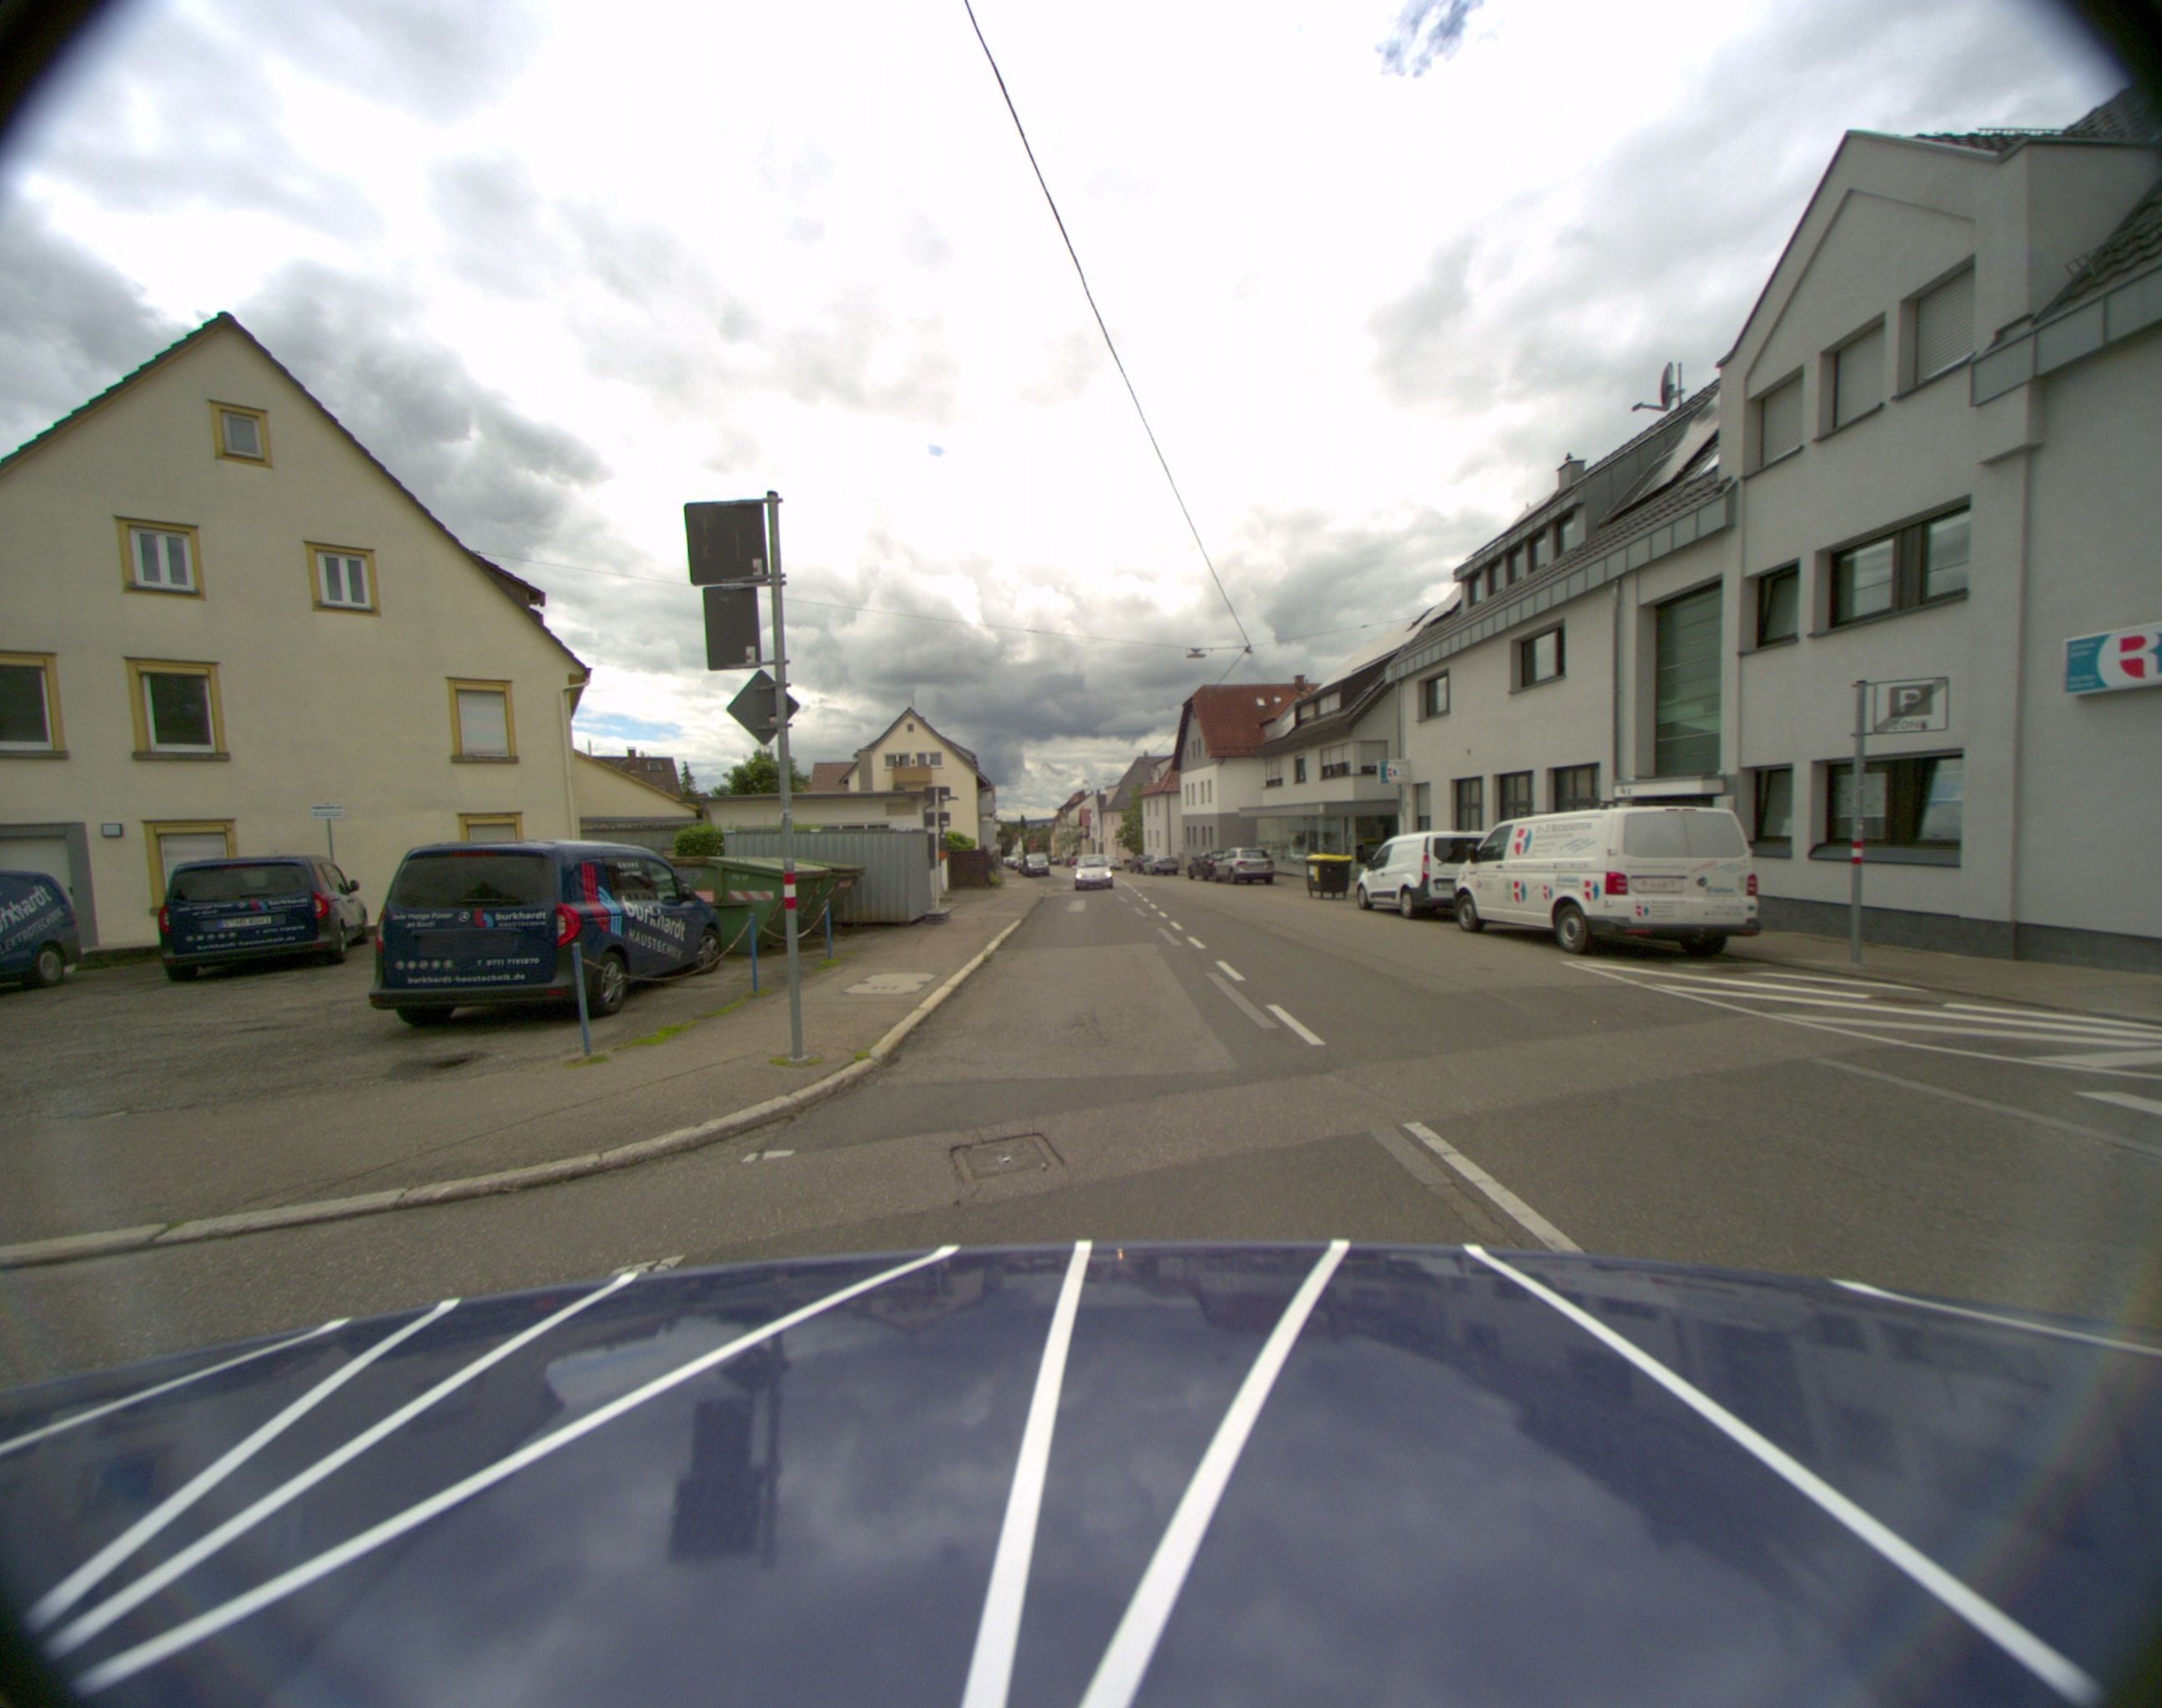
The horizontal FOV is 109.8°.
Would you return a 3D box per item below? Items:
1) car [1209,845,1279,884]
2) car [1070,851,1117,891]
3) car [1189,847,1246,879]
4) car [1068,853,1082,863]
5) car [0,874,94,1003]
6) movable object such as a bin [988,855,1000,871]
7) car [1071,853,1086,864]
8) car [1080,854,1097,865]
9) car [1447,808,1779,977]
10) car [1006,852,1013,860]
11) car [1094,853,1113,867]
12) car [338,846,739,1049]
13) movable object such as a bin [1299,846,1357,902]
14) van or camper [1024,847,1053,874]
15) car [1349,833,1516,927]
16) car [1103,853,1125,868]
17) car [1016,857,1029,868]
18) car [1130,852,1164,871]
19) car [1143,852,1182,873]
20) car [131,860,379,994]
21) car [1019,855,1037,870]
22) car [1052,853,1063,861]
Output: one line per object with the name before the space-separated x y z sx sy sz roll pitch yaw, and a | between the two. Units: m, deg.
car | 7.340 0.453 34.698 1.843 1.623 4.406 -1 0 -6
car | 0.519 0.702 34.505 1.722 1.587 3.998 -4 1 -3
car | 7.116 0.443 40.072 1.843 1.623 4.406 -1 0 -6
car | -0.964 0.610 114.043 1.707 1.524 3.733 1 0 -6
car | -15.768 1.233 9.804 1.905 1.792 4.882 -5 1 -31
movable object such as a bin | -8.705 0.888 76.283 1.083 1.428 1.259 -4 1 -6
car | -0.413 0.669 109.096 1.707 1.524 3.733 1 0 -6
car | 0.929 0.687 97.810 1.707 1.402 3.733 1 0 -6
car | 7.452 0.448 11.404 1.816 1.994 4.763 0 0 3
car | -18.800 0.507 198.883 1.614 1.789 3.857 -4 1 -7
car | 2.380 0.596 82.142 1.654 1.438 3.772 -1 0 -4
car | -5.704 0.797 8.864 1.751 1.729 4.569 0 0 -6
movable object such as a bin | 7.507 0.587 23.207 1.143 1.623 1.562 -1 1 -6
van or camper | -3.639 0.528 64.340 2.000 2.002 5.061 -5 1 -7
car | 7.586 0.493 16.921 1.738 1.821 4.297 0 0 0
car | 3.298 0.602 76.954 1.654 1.438 3.809 -1 0 -6
car | -8.338 1.201 108.674 1.614 1.447 3.857 -4 1 -7
car | 5.213 0.560 60.425 1.843 1.437 3.997 0 0 -9
car | 5.738 0.597 53.983 1.843 1.437 4.465 0 0 -6
car | -13.284 1.066 12.550 1.872 1.718 3.990 -5 1 -35
car | -5.631 0.850 79.723 1.614 1.447 3.857 -4 1 -7
car | -4.517 0.628 146.022 1.707 1.524 3.733 1 0 -6
